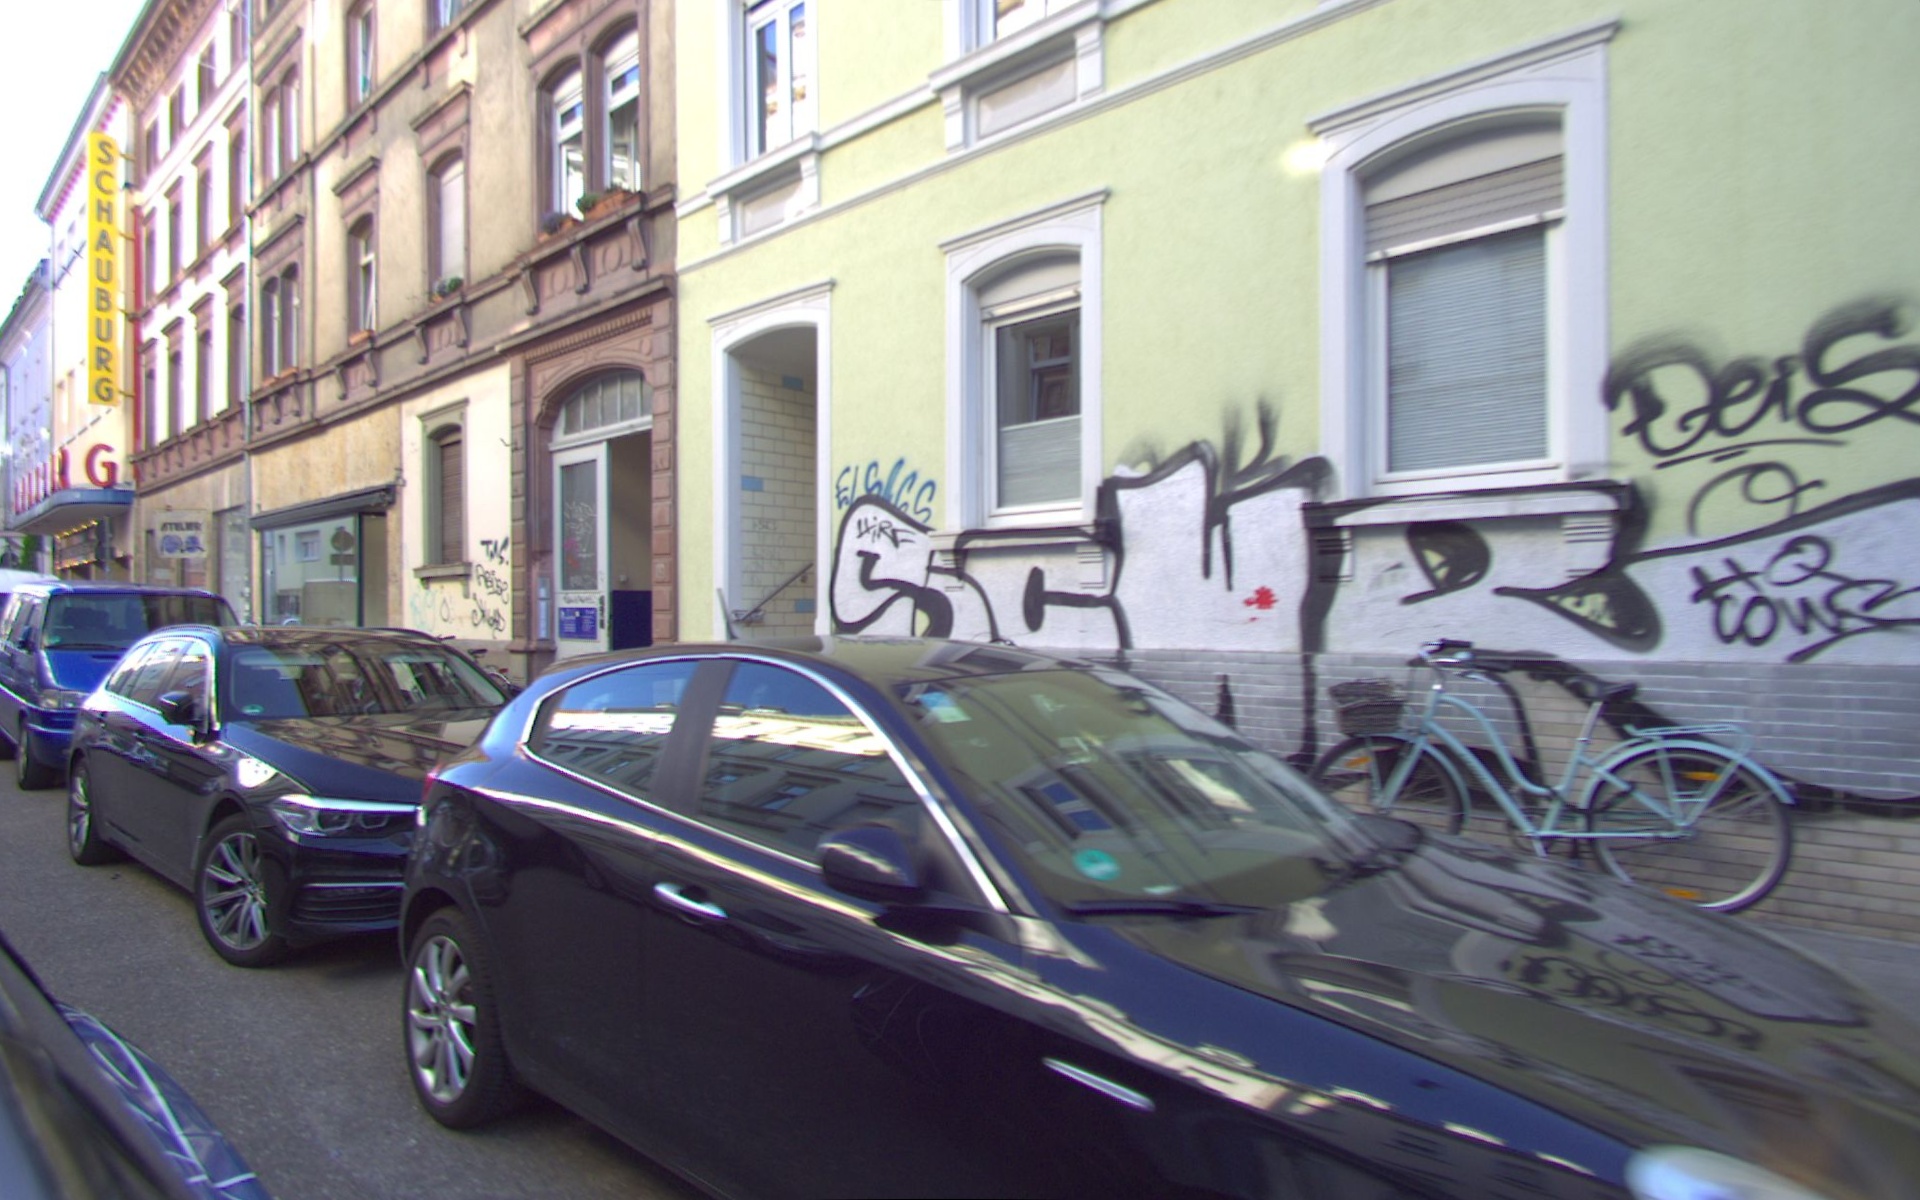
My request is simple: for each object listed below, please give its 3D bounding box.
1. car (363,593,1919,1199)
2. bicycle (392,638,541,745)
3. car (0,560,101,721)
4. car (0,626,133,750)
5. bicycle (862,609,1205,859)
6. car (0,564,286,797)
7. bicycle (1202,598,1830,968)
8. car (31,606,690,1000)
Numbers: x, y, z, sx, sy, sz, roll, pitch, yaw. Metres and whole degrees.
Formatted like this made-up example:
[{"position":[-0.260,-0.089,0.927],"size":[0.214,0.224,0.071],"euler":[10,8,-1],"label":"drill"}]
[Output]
[{"position":[0.161,0.759,2.564],"size":[3.998,1.438,1.718],"euler":[-2,-2,41],"label":"car"},{"position":[-5.546,0.973,11.317],"size":[2.029,1.028,0.747],"euler":[-2,2,42],"label":"bicycle"},{"position":[-16.973,0.679,17.529],"size":[5.916,2.471,2.146],"euler":[-2,-3,40],"label":"car"},{"position":[-12.593,1.087,13.551],"size":[3.836,1.458,1.629],"euler":[-1,-2,39],"label":"car"},{"position":[0.372,0.710,6.152],"size":[2.085,1.281,0.666],"euler":[-2,-1,41],"label":"bicycle"},{"position":[-8.805,0.748,10.499],"size":[4.611,1.906,1.808],"euler":[-2,-4,41],"label":"car"},{"position":[2.318,0.659,4.512],"size":[2.325,1.255,0.660],"euler":[-2,1,41],"label":"bicycle"},{"position":[-3.758,0.830,5.941],"size":[4.640,1.451,1.843],"euler":[-2,-2,39],"label":"car"}]
